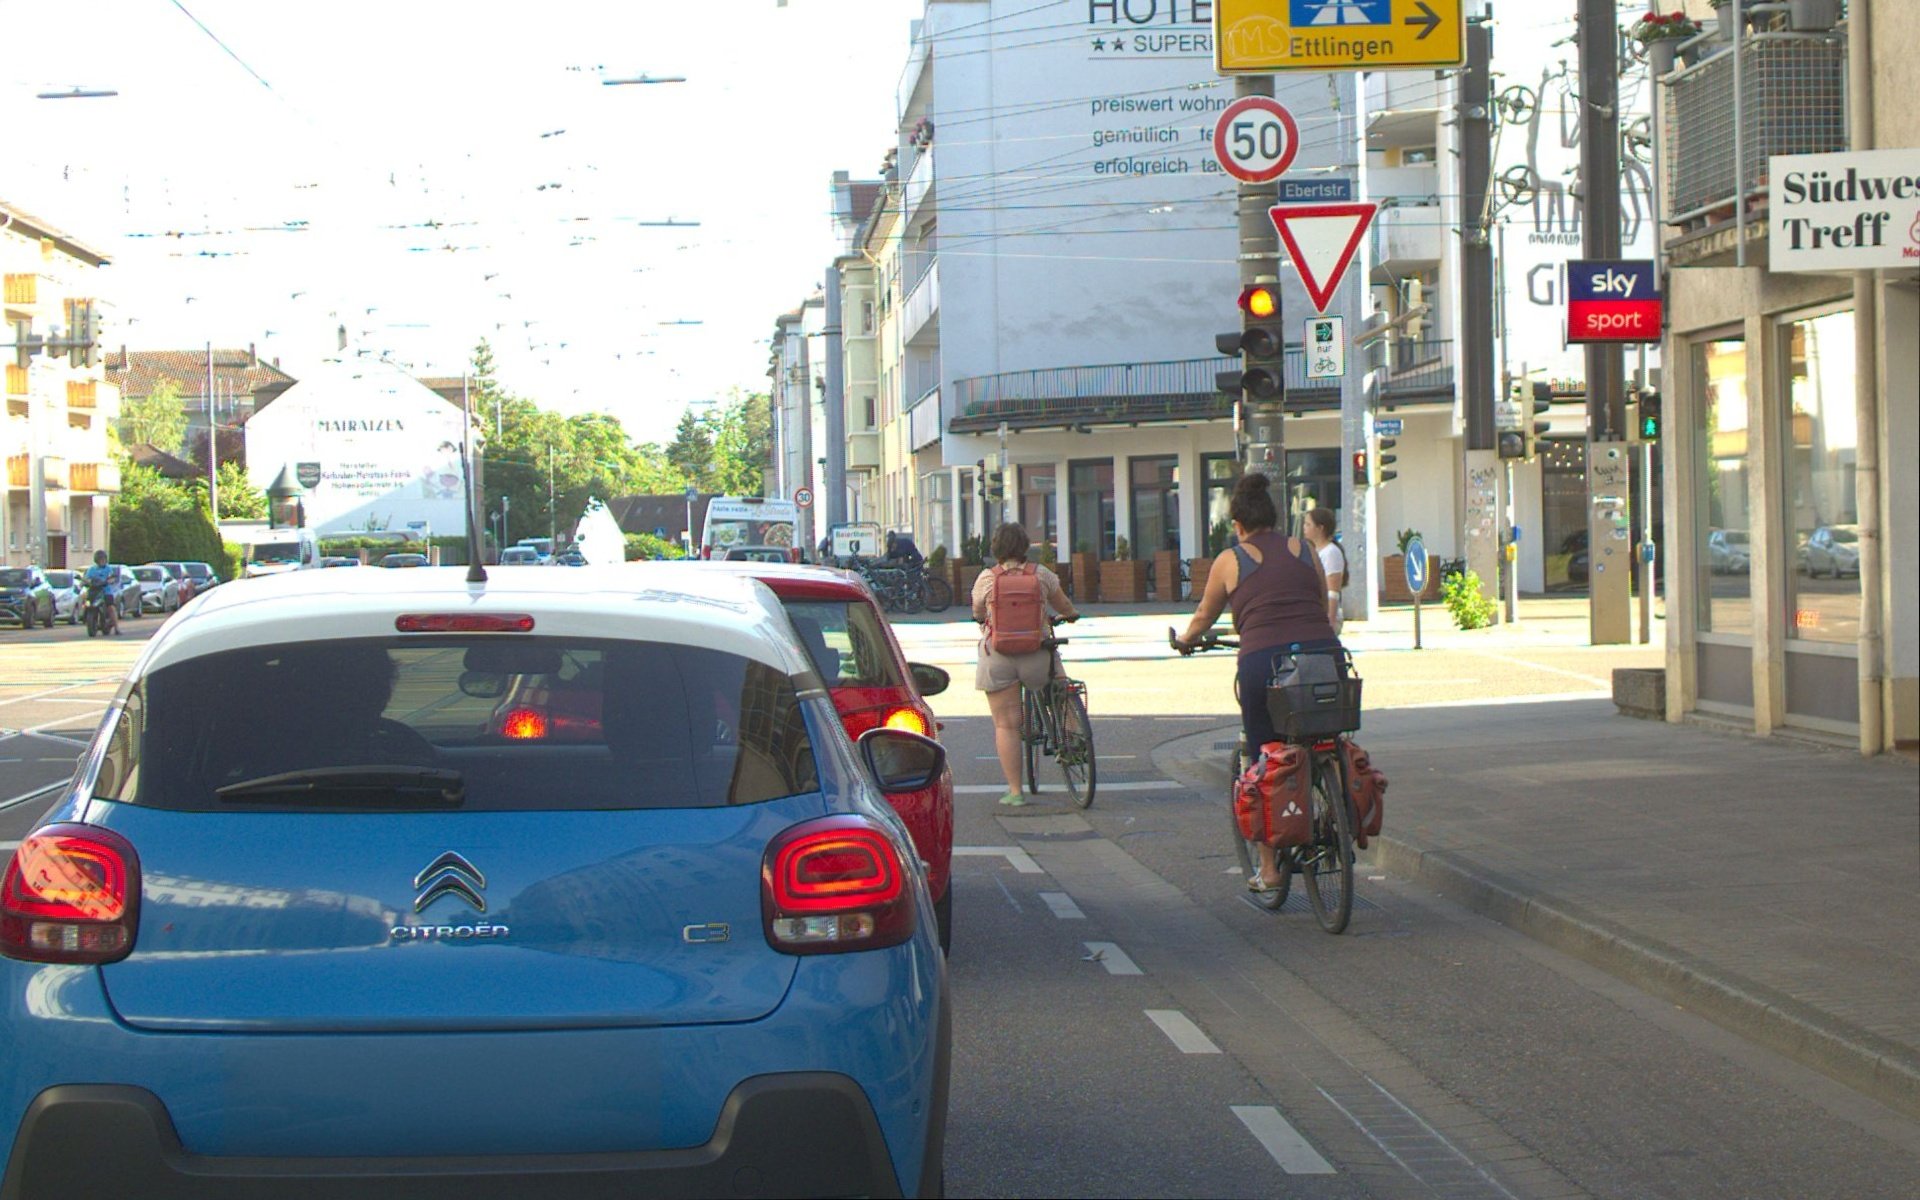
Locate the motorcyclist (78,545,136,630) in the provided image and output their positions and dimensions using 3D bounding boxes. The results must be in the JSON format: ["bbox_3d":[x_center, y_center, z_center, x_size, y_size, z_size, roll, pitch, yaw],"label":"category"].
[{"bbox_3d":[-16.674,-0.250,67.213,0.991,1.625,0.739,-1,1,-9],"label":"motorcyclist"}]

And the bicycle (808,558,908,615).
[{"bbox_3d":[-2.025,-0.272,68.313,1.904,1.061,0.642,-1,1,-7],"label":"bicycle"}]

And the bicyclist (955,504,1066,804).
[{"bbox_3d":[0.292,0.304,20.600,0.600,1.740,1.084,-1,1,-1],"label":"bicyclist"}]

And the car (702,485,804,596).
[{"bbox_3d":[-4.431,-1.275,73.241,2.079,2.262,5.652,0,1,-4],"label":"car"}]

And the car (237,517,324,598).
[{"bbox_3d":[-23.662,-1.500,119.936,2.493,2.703,5.839,-1,1,-7],"label":"car"}]

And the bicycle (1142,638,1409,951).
[{"bbox_3d":[1.233,0.737,13.799,0.616,1.099,1.887,-1,1,-8],"label":"bicycle"}]

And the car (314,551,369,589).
[{"bbox_3d":[-25.977,-1.276,144.569,1.950,1.514,4.001,-1,1,-6],"label":"car"}]

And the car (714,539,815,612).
[{"bbox_3d":[-3.881,-0.513,67.806,1.786,1.354,3.915,-1,1,-6],"label":"car"}]

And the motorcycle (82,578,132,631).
[{"bbox_3d":[-16.693,0.075,67.287,0.751,0.973,2.098,-1,1,-9],"label":"motorcycle"}]

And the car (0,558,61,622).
[{"bbox_3d":[-23.785,-0.266,85.890,1.950,1.514,4.001,-1,1,-6],"label":"car"}]

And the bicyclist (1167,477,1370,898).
[{"bbox_3d":[1.227,0.331,13.773,0.616,1.624,0.760,-1,1,-8],"label":"bicyclist"}]

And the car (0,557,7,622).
[{"bbox_3d":[-23.320,-0.192,79.225,1.950,1.514,4.001,-1,1,-6],"label":"car"}]

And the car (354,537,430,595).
[{"bbox_3d":[-16.899,-1.038,102.442,2.004,1.622,5.054,-1,1,-7],"label":"car"}]

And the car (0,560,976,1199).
[{"bbox_3d":[-0.957,0.669,7.376,1.680,1.457,4.001,0,1,-4],"label":"car"}]

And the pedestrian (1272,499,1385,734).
[{"bbox_3d":[2.609,0.108,24.376,0.751,1.629,0.740,-1,1,6],"label":"pedestrian"}]

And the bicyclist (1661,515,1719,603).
[{"bbox_3d":[12.063,-0.682,56.786,0.728,1.429,0.604,0,1,37],"label":"bicyclist"}]

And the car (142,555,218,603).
[{"bbox_3d":[-26.069,-0.718,114.999,1.950,1.514,4.001,-1,1,-6],"label":"car"}]

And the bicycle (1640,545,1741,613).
[{"bbox_3d":[12.060,-0.347,56.788,1.492,1.087,0.604,0,1,37],"label":"bicycle"}]

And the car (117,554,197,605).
[{"bbox_3d":[-25.359,-0.670,108.657,1.950,1.514,4.001,-1,1,-6],"label":"car"}]

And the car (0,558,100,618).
[{"bbox_3d":[-24.306,-0.334,91.947,1.950,1.514,4.001,-1,1,-6],"label":"car"}]

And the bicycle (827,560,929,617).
[{"bbox_3d":[-1.606,-0.234,67.121,1.904,1.061,0.642,-1,1,-7],"label":"bicycle"}]

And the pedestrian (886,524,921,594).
[{"bbox_3d":[-1.152,-0.843,70.259,0.525,1.415,0.546,-1,1,20],"label":"pedestrian"}]

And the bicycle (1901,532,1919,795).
[{"bbox_3d":[4.916,0.314,15.754,0.640,1.260,1.911,-1,1,-1],"label":"bicycle"}]

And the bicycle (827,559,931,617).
[{"bbox_3d":[-1.557,-0.240,65.815,1.904,1.061,0.642,-1,1,-7],"label":"bicycle"}]

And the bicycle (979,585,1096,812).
[{"bbox_3d":[0.450,0.561,20.643,0.613,1.260,1.911,-1,1,-1],"label":"bicycle"}]

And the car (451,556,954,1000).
[{"bbox_3d":[-1.004,0.578,13.585,1.680,1.457,4.001,0,1,-4],"label":"car"}]

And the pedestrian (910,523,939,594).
[{"bbox_3d":[-0.719,-0.845,70.007,0.467,1.415,0.527,-1,1,-13],"label":"pedestrian"}]

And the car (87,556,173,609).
[{"bbox_3d":[-24.926,-0.539,103.378,1.950,1.514,4.001,-1,1,-6],"label":"car"}]

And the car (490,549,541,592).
[{"bbox_3d":[-22.046,-1.495,170.841,2.338,2.032,5.051,-1,1,-6],"label":"car"}]
